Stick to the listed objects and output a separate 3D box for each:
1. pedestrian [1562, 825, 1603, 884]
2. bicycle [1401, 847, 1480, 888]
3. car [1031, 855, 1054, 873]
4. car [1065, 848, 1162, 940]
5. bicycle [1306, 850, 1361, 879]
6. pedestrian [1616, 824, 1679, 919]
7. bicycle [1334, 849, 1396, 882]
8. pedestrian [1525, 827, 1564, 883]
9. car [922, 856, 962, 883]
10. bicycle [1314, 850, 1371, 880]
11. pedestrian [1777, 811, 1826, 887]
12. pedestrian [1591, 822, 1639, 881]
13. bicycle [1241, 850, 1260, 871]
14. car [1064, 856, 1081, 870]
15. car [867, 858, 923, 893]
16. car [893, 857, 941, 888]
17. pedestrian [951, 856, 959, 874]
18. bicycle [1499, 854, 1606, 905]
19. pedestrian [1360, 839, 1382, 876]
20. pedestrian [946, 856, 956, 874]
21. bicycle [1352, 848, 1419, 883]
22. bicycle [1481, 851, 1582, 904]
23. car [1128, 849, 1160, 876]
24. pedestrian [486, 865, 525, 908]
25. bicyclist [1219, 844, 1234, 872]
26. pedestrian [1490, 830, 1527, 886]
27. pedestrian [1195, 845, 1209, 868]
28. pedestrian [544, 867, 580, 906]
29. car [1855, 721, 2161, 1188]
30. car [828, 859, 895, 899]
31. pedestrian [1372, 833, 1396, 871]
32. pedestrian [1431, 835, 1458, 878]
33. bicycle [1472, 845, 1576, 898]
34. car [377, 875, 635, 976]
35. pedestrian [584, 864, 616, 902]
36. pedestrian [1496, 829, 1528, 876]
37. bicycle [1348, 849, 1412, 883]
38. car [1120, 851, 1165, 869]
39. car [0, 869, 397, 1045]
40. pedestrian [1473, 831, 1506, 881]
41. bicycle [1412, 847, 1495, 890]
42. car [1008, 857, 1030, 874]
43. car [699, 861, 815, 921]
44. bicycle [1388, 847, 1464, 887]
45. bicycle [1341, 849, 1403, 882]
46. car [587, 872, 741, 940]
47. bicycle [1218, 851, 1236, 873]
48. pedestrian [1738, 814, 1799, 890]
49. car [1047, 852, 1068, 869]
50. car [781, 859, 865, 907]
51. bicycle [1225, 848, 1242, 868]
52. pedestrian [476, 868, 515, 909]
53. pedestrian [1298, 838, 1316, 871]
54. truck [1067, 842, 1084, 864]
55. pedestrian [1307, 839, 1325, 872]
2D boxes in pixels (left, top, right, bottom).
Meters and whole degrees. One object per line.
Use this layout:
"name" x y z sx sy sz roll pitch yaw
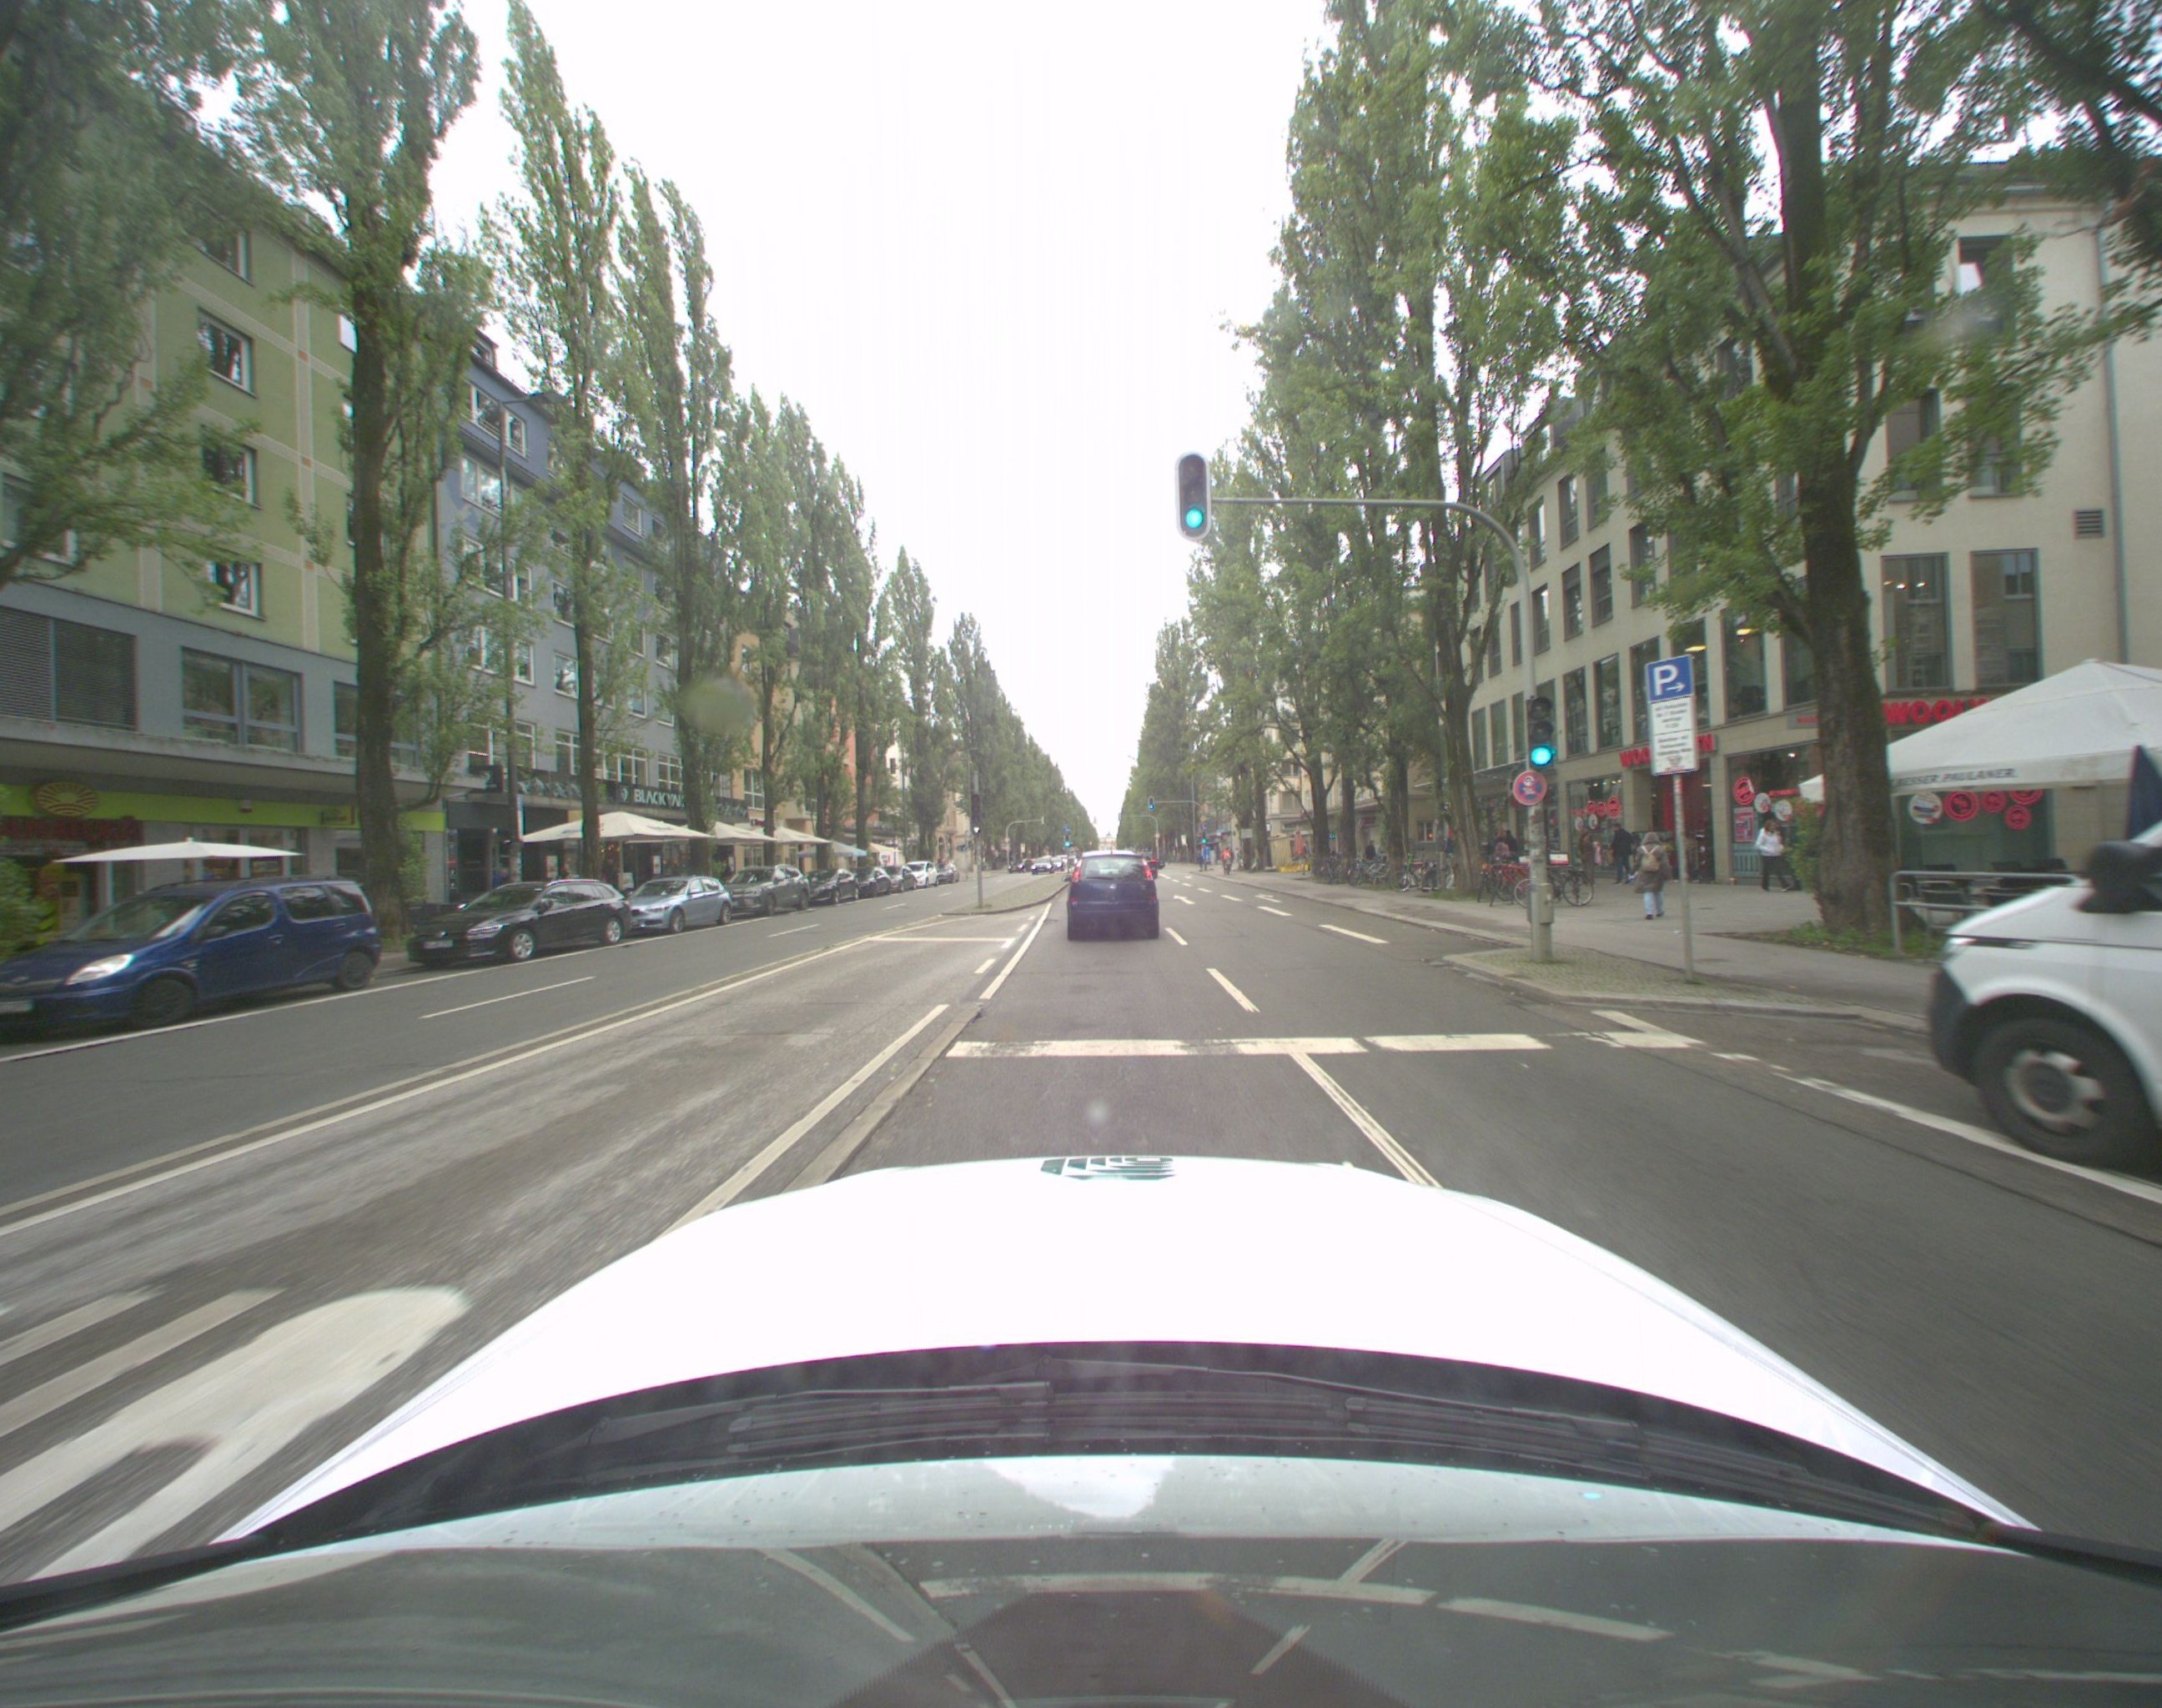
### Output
"pedestrian" 14.964 0.018 24.304 0.752 1.686 0.676 -3 -1 7
"bicycle" 11.477 0.435 26.040 2.220 1.204 0.626 -3 0 0
"car" -3.350 0.874 71.534 1.728 1.465 3.367 -2 0 2
"car" 0.644 0.689 16.203 1.665 1.568 4.002 -1 0 2
"bicycle" 11.298 0.467 36.520 2.220 1.204 0.626 -3 0 0
"pedestrian" 10.390 0.310 14.932 0.749 1.686 0.755 -4 -1 44
"bicycle" 11.502 0.457 33.017 2.220 1.204 0.626 -3 0 0
"pedestrian" 14.346 0.040 25.240 0.753 1.686 0.675 -3 -1 3
"car" -9.602 1.045 56.437 1.859 1.665 4.122 -4 0 2
"bicycle" 11.275 0.463 35.141 2.220 1.204 0.626 -3 0 0
"pedestrian" 16.653 -0.114 18.822 0.749 1.686 0.679 -4 -1 44
"pedestrian" 15.800 -0.069 24.114 0.793 1.677 0.879 -3 -1 7
"bicycle" 11.116 0.417 53.545 0.769 1.349 2.450 -2 0 2
"car" -0.999 1.100 100.830 1.859 1.665 4.122 -2 0 2
"car" -9.965 1.098 43.899 1.859 1.665 4.122 -4 0 2
"car" -9.854 1.072 49.161 1.859 1.665 4.122 -4 0 2
"pedestrian" -13.109 1.150 84.572 0.767 1.766 0.882 -2 0 -10
"bicycle" 10.493 0.551 18.148 1.989 1.032 0.626 -3 0 0
"pedestrian" 14.141 0.172 39.742 0.636 1.827 0.885 0 -1 -8
"pedestrian" -13.083 1.058 81.944 0.769 1.766 0.880 -2 0 -15
"bicycle" 11.437 0.441 30.614 2.220 1.204 0.626 -3 0 0
"bicycle" 10.523 0.535 19.058 1.989 1.133 0.626 -3 0 0
"car" 4.007 0.523 52.480 1.889 1.622 4.002 -1 0 2
"pedestrian" -19.353 1.076 27.409 0.763 1.409 0.799 0 -1 -3
"bicyclist" 9.346 0.279 52.274 0.764 1.766 0.885 -2 0 1
"pedestrian" 13.396 0.123 25.533 0.671 1.686 0.758 -3 -1 -3
"pedestrian" 9.560 0.183 64.446 0.880 1.766 0.769 -2 0 -1
"pedestrian" -19.325 1.202 30.330 0.792 1.409 0.770 -1 -1 13
"car" 5.345 0.402 2.364 1.781 1.946 4.732 -2 0 2
"car" -10.259 1.123 38.375 1.859 1.665 4.122 -4 0 2
"pedestrian" 14.845 -0.081 39.915 0.719 1.827 0.885 0 -1 -8
"pedestrian" 15.966 0.107 35.758 0.719 1.827 0.885 0 -1 -8
"bicycle" 11.035 0.431 20.325 2.220 1.204 0.626 -3 0 0
"car" -10.996 1.271 16.053 1.792 1.488 4.352 -4 0 2
"pedestrian" -18.148 1.090 30.742 0.763 1.409 0.799 0 -1 -3
"pedestrian" 16.773 -0.054 31.688 0.719 1.827 0.885 0 -1 -8
"bicycle" 11.527 0.443 31.421 2.220 1.204 0.626 -3 0 0
"car" 5.876 0.600 77.727 3.959 1.622 1.909 -1 0 13
"car" -11.422 1.150 10.568 1.704 1.721 3.921 -4 0 -1
"pedestrian" 15.321 0.075 30.586 0.719 1.827 0.885 0 -1 -8
"bicycle" 11.396 0.437 24.929 2.220 1.204 0.626 -3 0 0
"car" -6.628 1.191 87.494 1.859 1.665 4.122 -2 0 2
"car" -10.606 1.159 27.038 1.859 1.665 4.403 -4 0 2
"bicycle" 11.479 0.432 27.124 2.220 1.204 0.626 -3 0 0
"bicycle" 11.505 0.451 32.220 2.220 1.204 0.626 -3 0 0
"car" -10.778 1.279 21.424 1.727 1.425 4.145 -4 0 2
"bicycle" 9.348 0.483 52.183 0.769 1.349 2.450 -2 0 2
"pedestrian" 15.828 -0.042 18.771 0.752 1.686 0.677 -3 -1 8
"car" -2.383 0.640 84.787 1.859 1.665 4.122 -2 0 2
"car" -10.388 1.112 33.108 1.859 1.665 4.122 -4 0 2
"bicycle" 11.069 0.283 59.078 0.769 1.349 2.450 -2 0 2
"pedestrian" -20.525 1.199 28.548 0.792 1.409 0.770 -1 -1 14
"pedestrian" 12.421 0.037 44.800 0.636 1.827 0.885 0 -1 -8
"truck" -0.856 -0.217 131.658 2.374 3.346 7.114 -2 0 2
"pedestrian" 13.087 0.070 45.372 0.636 1.827 0.885 0 -1 -8
